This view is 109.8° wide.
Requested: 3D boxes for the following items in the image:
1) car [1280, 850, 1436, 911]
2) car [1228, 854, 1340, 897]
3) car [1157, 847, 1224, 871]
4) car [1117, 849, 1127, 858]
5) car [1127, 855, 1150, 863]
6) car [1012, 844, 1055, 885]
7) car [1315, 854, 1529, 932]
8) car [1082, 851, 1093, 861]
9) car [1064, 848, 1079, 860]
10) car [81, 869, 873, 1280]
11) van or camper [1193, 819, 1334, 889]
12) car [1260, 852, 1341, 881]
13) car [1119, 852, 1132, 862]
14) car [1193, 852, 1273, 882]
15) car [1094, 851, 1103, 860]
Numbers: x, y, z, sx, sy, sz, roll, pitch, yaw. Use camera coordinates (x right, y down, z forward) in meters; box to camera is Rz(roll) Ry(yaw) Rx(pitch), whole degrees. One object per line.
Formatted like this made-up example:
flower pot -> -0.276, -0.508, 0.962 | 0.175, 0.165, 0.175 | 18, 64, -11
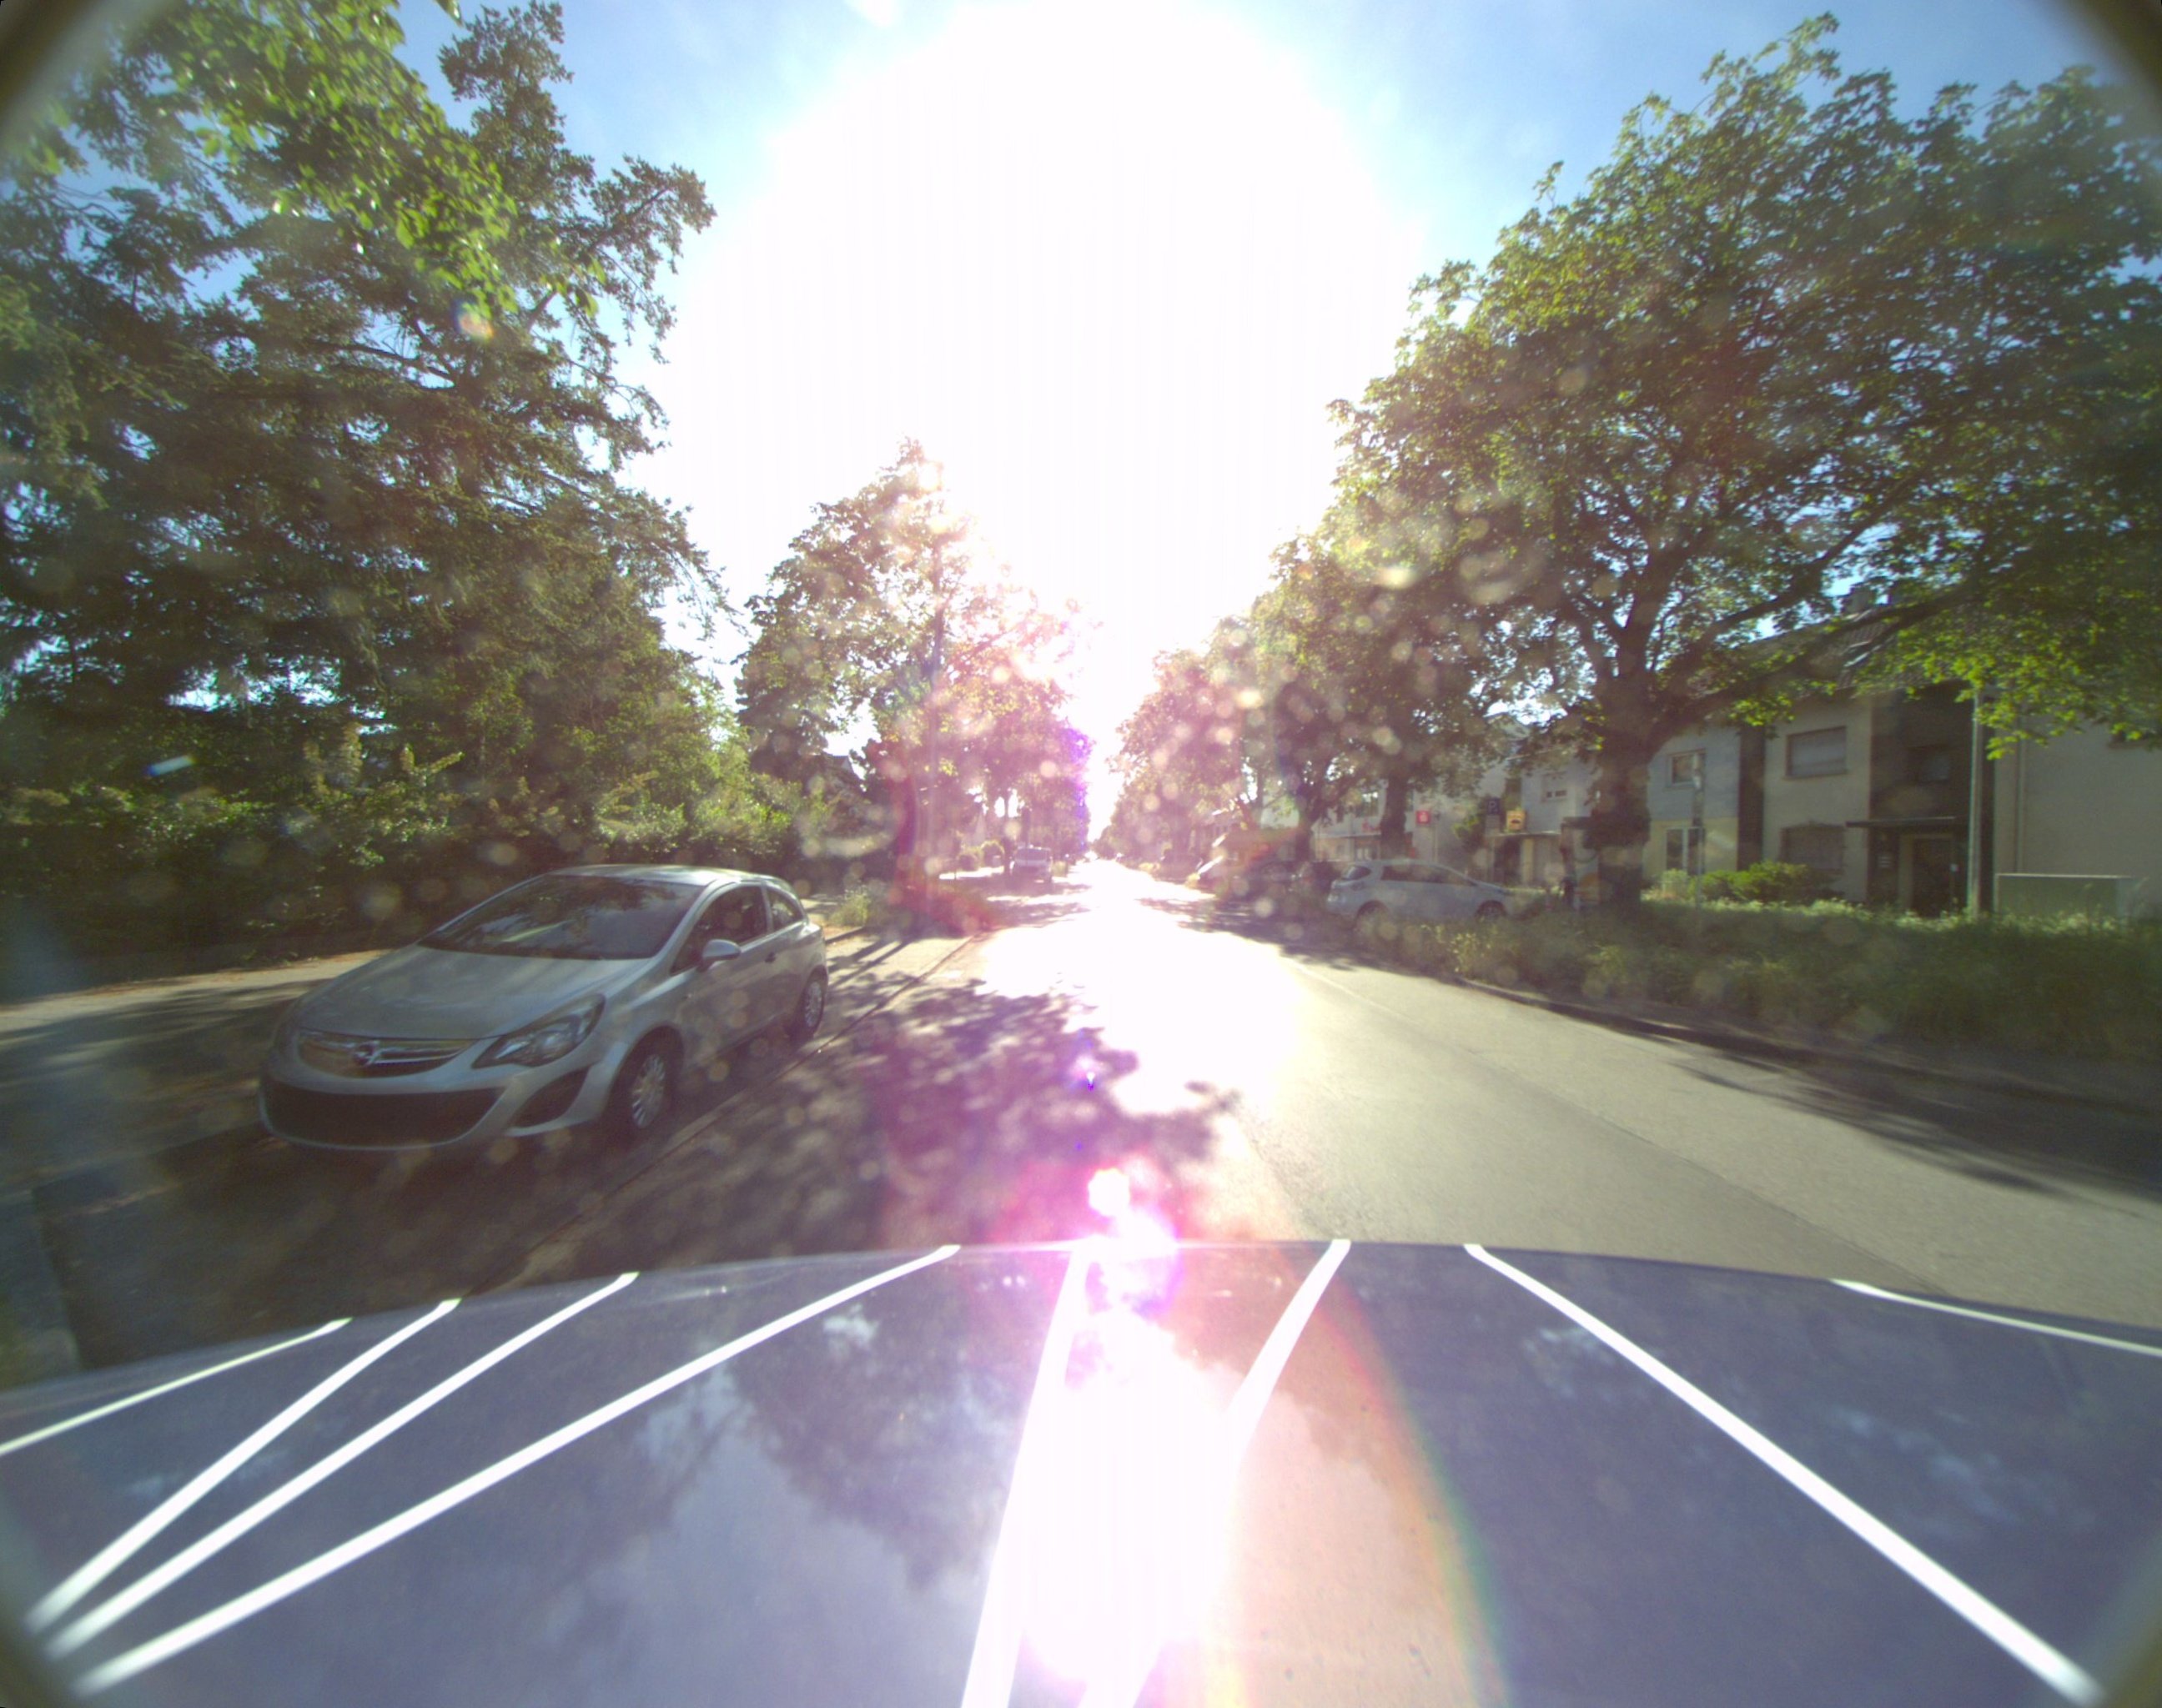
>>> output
car -> 8.404, 0.774, 23.302 | 3.997, 1.580, 1.999 | -3, 1, 0
car -> 8.265, 0.853, 31.145 | 3.997, 1.450, 1.999 | -3, 1, -1
car -> 8.862, 0.395, 61.728 | 5.075, 1.718, 1.999 | -3, 1, -3
car -> 7.748, -0.129, 142.966 | 1.815, 1.722, 4.056 | 1, 1, 3
car -> 9.584, 0.806, 126.642 | 3.695, 1.315, 1.624 | -2, 1, -5
car -> -2.574, 0.525, 42.530 | 1.999, 2.002, 5.195 | -3, 1, 0
car -> 7.624, 0.831, 17.291 | 3.997, 1.651, 1.966 | 0, 1, 0
car -> 1.066, 0.325, 125.984 | 1.539, 1.582, 3.458 | -3, 1, 3
car -> -1.390, -0.007, 115.816 | 1.941, 1.684, 4.363 | 0, 1, 3
car -> -3.213, 0.964, 5.267 | 1.997, 1.502, 4.001 | 1, 2, 8
van or camper -> 8.067, -0.022, 34.003 | 5.789, 2.789, 2.000 | -3, 1, 3
car -> 12.463, 0.677, 43.254 | 3.998, 1.533, 1.869 | -1, 1, -5
car -> 7.696, 0.488, 131.665 | 1.998, 1.530, 3.695 | -3, 1, 3
car -> 8.106, 0.699, 40.838 | 3.996, 1.441, 1.639 | -2, 1, 4
car -> 3.444, 0.219, 145.599 | 1.539, 1.582, 3.458 | -3, 1, 3
